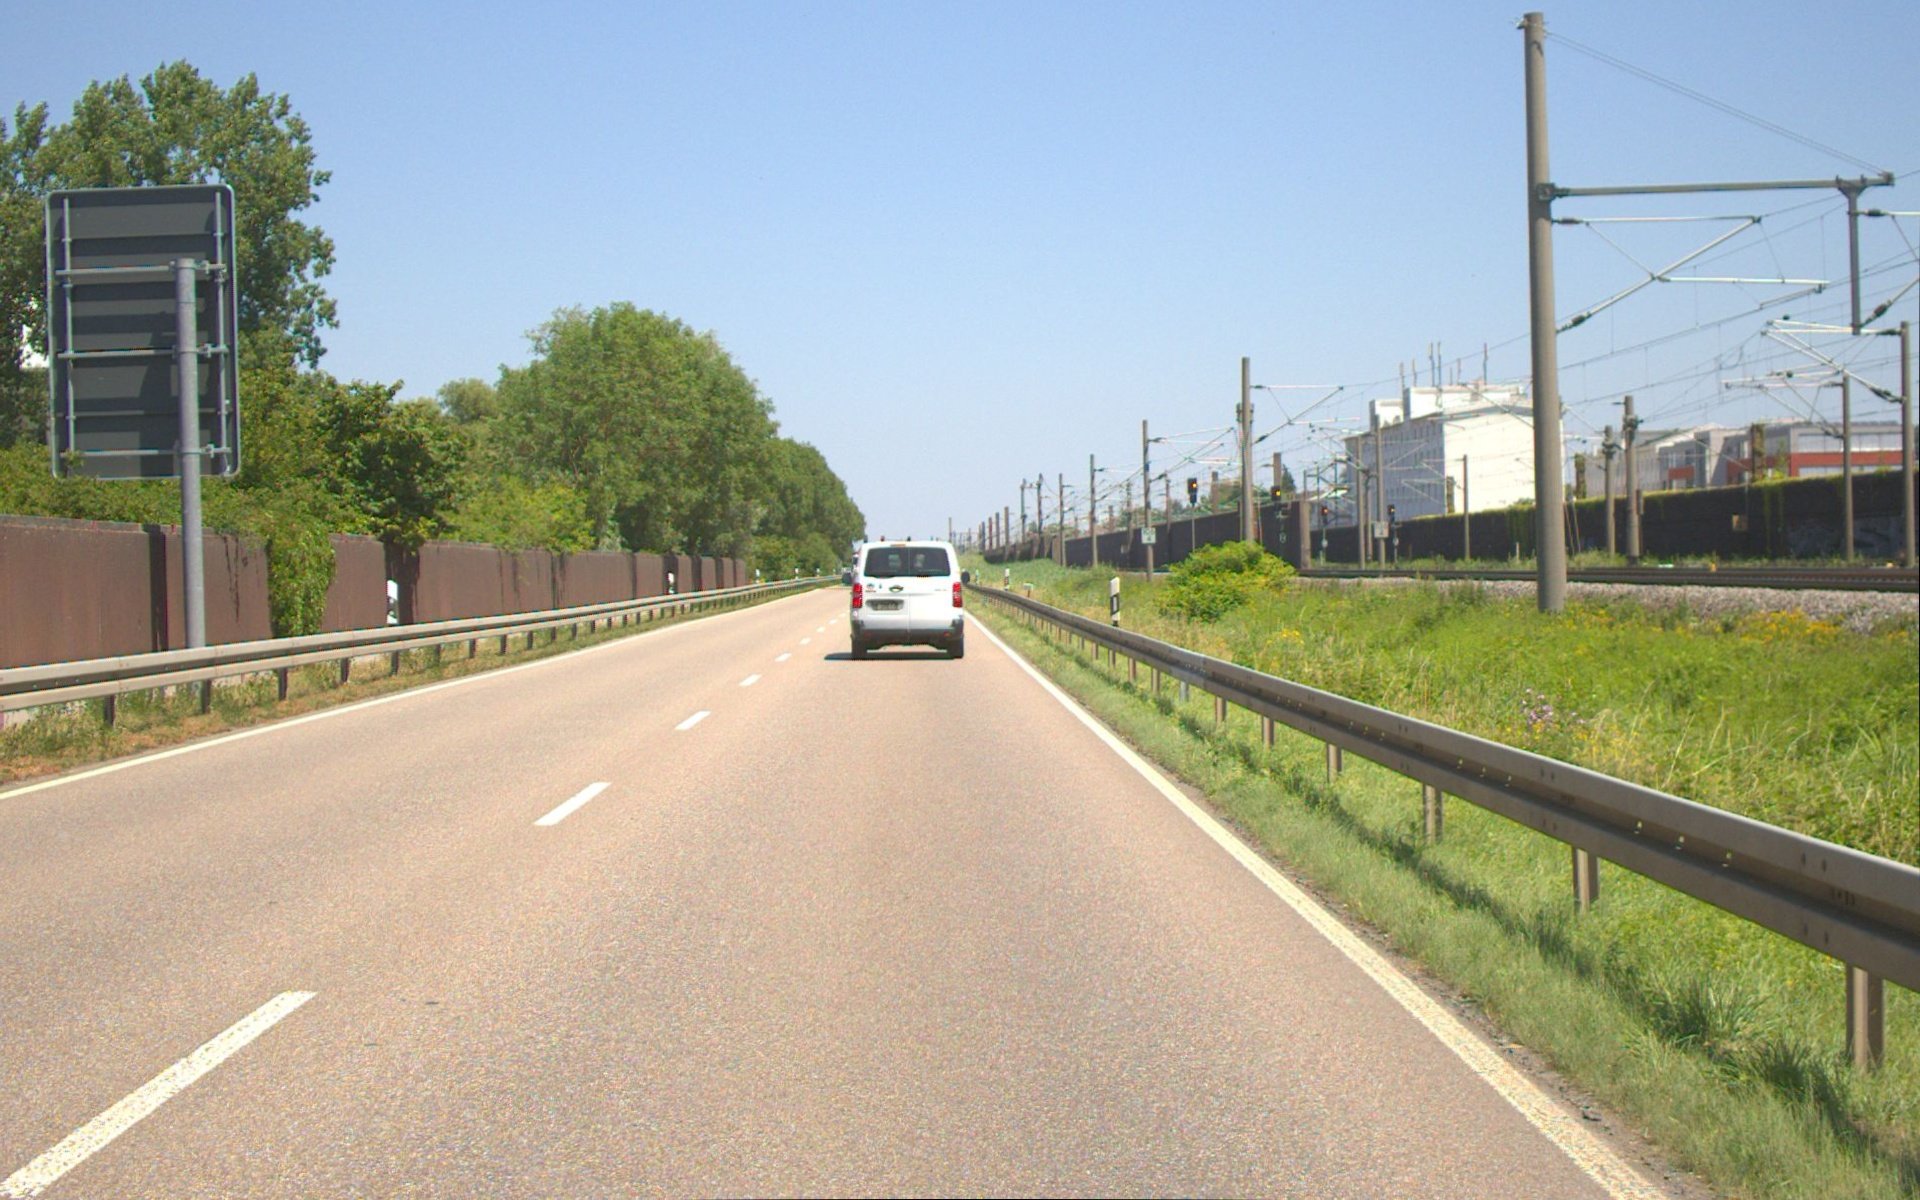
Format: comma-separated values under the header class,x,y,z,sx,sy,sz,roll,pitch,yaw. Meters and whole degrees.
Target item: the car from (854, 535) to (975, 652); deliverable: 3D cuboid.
class,x,y,z,sx,sy,sz,roll,pitch,yaw
car,-0.760,-0.124,57.600,1.945,1.875,4.881,0,0,-1
